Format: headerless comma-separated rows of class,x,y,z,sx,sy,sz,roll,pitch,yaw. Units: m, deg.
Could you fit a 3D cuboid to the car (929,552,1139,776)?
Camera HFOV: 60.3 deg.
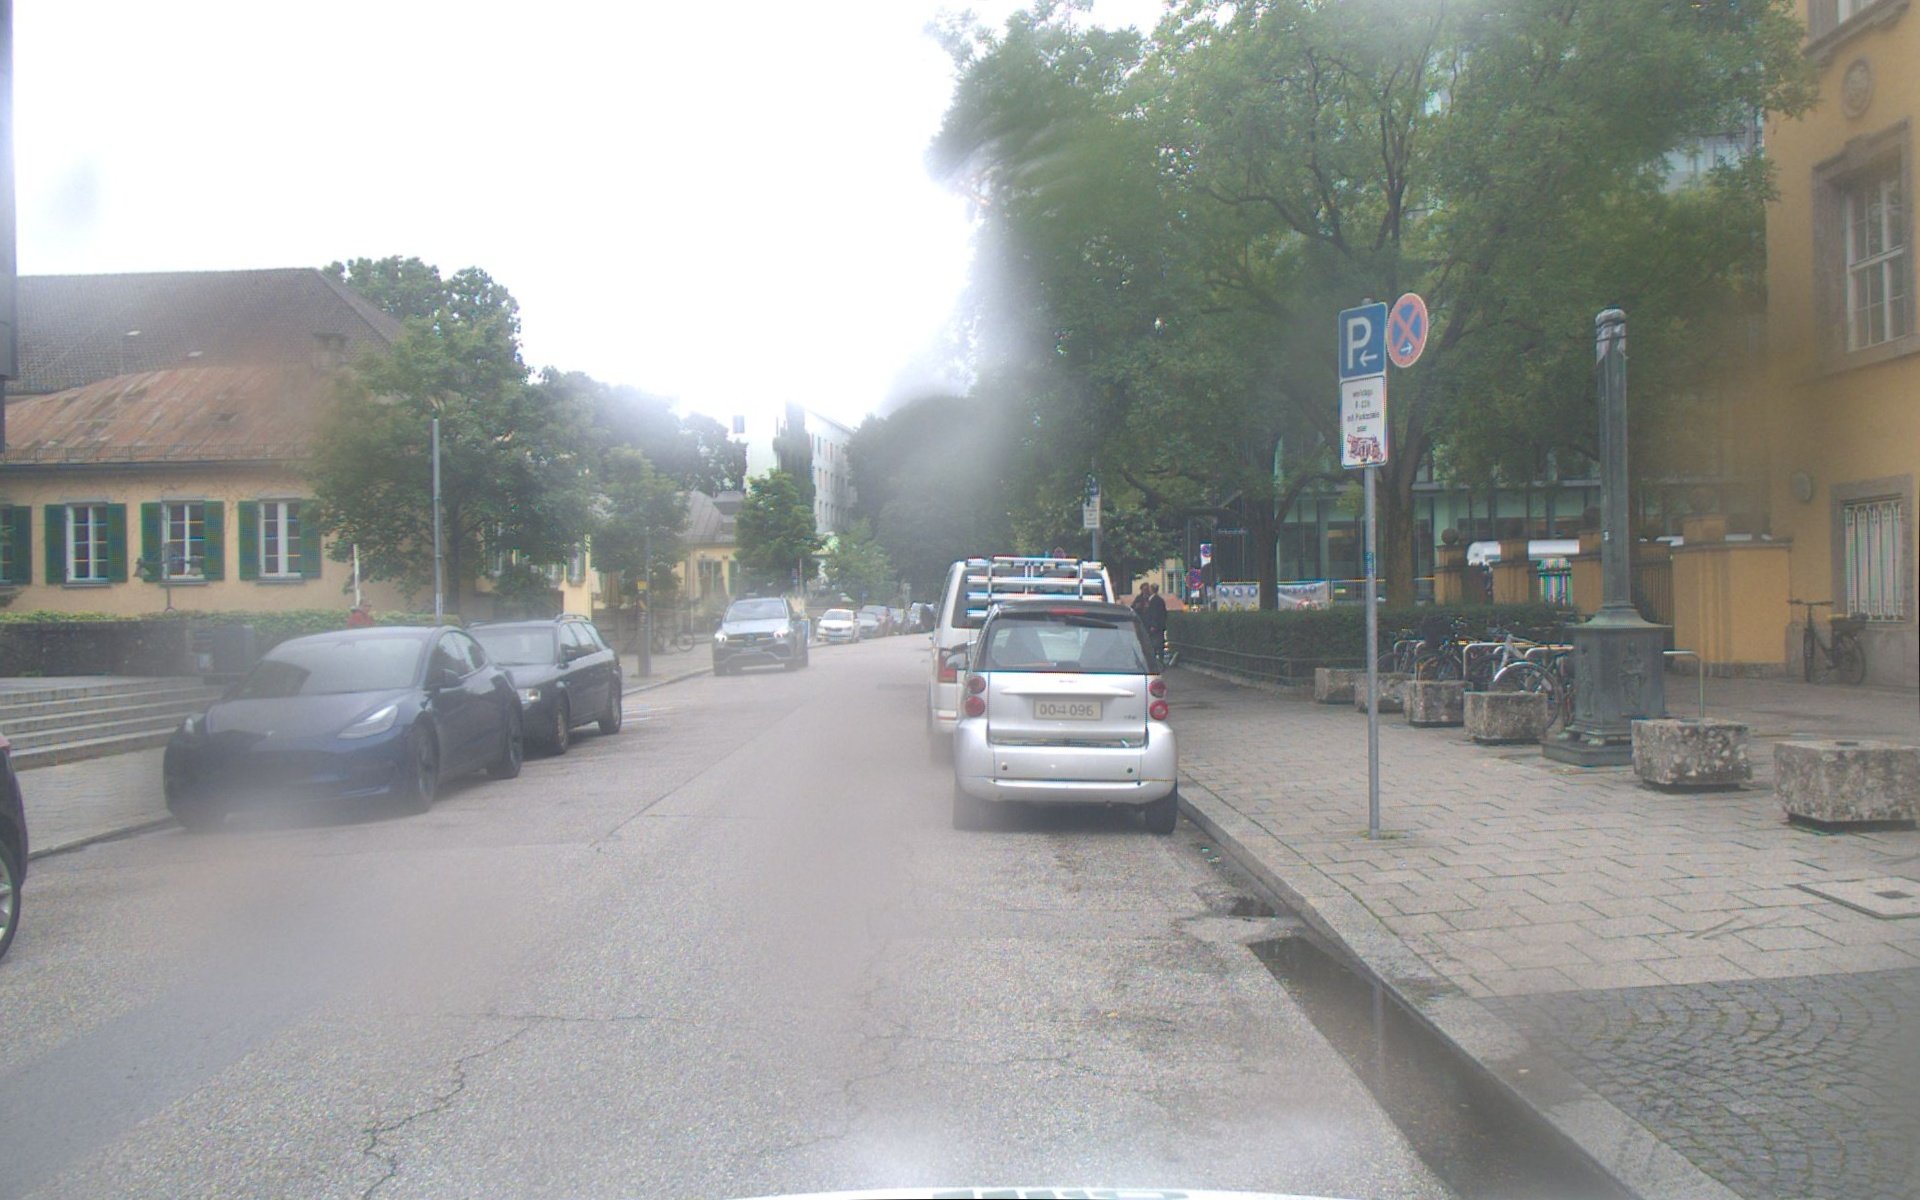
car,0.619,0.584,17.496,1.808,1.967,5.271,1,0,-2

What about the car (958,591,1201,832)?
car,0.787,0.739,12.396,1.573,1.573,2.933,1,0,0

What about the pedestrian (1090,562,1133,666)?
pedestrian,3.235,0.297,35.379,0.727,2.172,1.055,-2,0,-1

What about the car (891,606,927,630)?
car,-3.399,1.183,110.708,1.952,1.512,4.002,-1,0,4

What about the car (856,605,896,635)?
car,-4.665,1.150,92.846,1.952,1.631,4.000,-1,-1,1

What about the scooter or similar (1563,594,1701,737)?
scooter or similar,6.100,0.588,15.028,0.995,1.243,0.534,-3,0,45

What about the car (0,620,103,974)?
car,-4.959,0.886,5.679,1.704,1.486,4.237,-4,0,1

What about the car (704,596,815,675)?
car,-4.753,0.811,39.777,1.983,1.719,4.677,-2,0,1

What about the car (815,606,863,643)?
car,-5.455,1.085,75.168,1.697,1.609,3.789,2,0,2

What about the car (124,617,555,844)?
car,-4.919,0.933,13.977,1.884,1.464,4.915,-3,-1,-2

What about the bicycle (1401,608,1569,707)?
bicycle,6.522,0.707,20.587,1.892,1.133,0.471,-2,0,1

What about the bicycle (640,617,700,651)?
bicycle,-9.759,1.145,55.724,1.890,1.118,0.615,1,0,2

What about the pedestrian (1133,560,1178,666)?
pedestrian,4.136,0.275,35.068,0.727,2.172,1.055,-2,0,-1

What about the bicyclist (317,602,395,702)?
bicyclist,-9.473,0.806,25.934,1.078,1.524,0.668,0,-2,-26

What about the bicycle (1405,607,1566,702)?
bicycle,6.777,0.694,21.380,1.892,1.133,0.471,-2,0,1

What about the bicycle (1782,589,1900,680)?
bicycle,12.053,0.443,22.693,0.531,1.174,1.901,-2,0,-2

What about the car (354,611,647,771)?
car,-5.130,0.942,19.236,1.953,1.517,4.883,-3,0,0

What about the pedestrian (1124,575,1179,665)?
pedestrian,4.208,0.431,36.279,0.729,1.941,1.052,-2,-1,35

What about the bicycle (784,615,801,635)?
bicycle,-8.799,1.333,86.857,0.608,1.022,1.619,-1,-2,5

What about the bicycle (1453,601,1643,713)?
bicycle,6.482,0.624,18.275,1.892,1.133,0.471,-2,0,1

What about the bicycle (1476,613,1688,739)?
bicycle,6.127,0.741,16.319,1.893,1.133,0.471,-2,0,-4

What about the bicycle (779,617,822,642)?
bicycle,-6.806,1.257,70.641,0.610,1.022,2.134,1,0,32

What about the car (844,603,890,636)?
car,-4.912,0.998,87.763,1.952,1.677,4.656,-1,0,2
